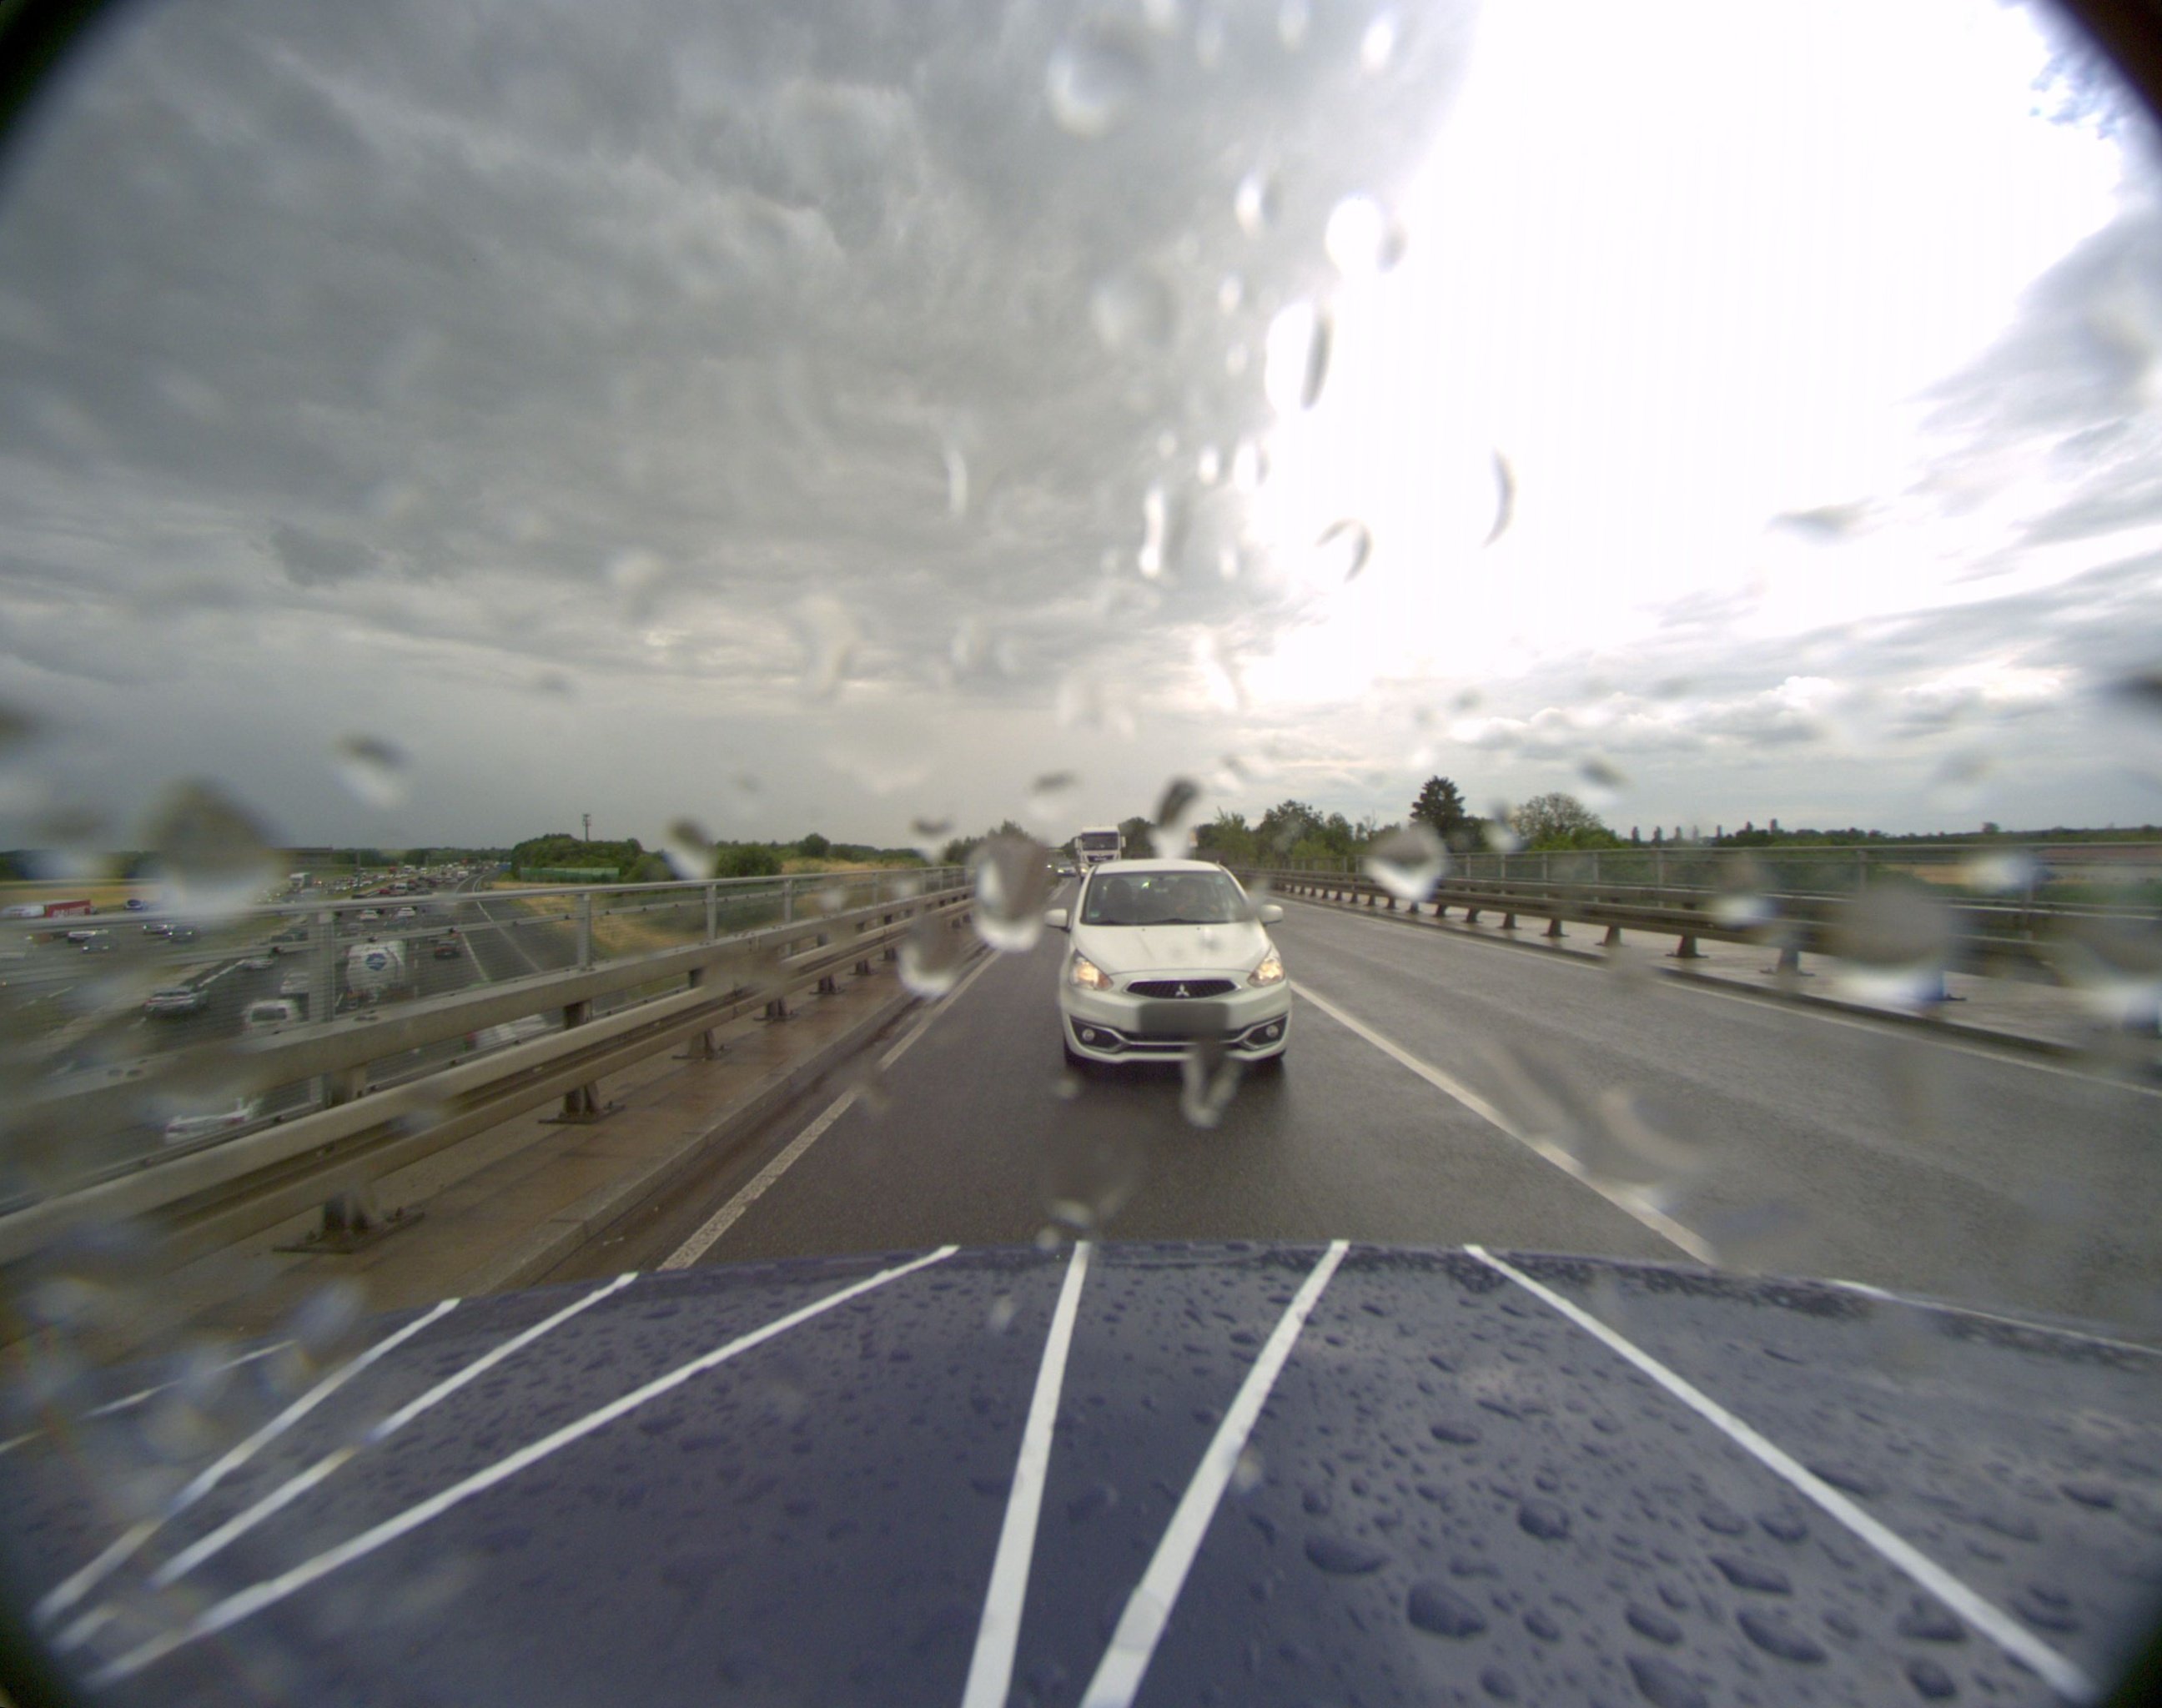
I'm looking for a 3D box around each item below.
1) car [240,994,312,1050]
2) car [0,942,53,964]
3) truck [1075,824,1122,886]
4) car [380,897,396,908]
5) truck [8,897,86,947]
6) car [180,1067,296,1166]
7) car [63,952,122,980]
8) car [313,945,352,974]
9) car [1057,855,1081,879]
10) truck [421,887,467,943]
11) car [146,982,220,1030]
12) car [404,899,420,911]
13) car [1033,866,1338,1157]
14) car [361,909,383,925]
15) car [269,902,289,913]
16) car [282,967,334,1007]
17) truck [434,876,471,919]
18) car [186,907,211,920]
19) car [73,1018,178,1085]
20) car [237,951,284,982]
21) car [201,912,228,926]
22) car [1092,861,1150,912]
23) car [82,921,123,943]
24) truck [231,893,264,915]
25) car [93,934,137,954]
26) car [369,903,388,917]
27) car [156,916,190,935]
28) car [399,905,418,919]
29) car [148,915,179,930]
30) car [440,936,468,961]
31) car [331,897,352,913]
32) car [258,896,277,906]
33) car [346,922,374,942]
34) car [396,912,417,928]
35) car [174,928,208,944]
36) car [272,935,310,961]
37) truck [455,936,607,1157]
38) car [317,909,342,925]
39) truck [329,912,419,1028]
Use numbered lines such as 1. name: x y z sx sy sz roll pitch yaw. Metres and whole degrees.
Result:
1. car: -40.386 8.363 38.241 1.860 1.764 4.711 -3 1 -40
2. car: -97.059 9.044 69.996 1.818 1.428 4.711 -3 1 -41
3. truck: 1.006 -0.112 48.803 2.631 3.537 8.474 -2 3 0
4. car: -125.753 8.835 137.840 1.860 1.764 4.711 -3 1 -40
5. truck: -112.119 7.244 82.586 2.691 4.600 9.727 -3 1 -40
6. car: -27.850 8.576 25.279 1.860 1.659 4.711 -3 1 -40
7. car: -80.612 9.099 62.039 1.818 1.659 4.712 -3 1 -39
8. car: -61.995 8.718 63.018 1.860 1.764 4.711 -3 1 -40
9. car: -1.140 1.251 74.490 1.998 2.002 3.999 -5 2 1
10. truck: -71.765 6.645 85.524 3.499 5.321 15.587 -3 1 -40
11. car: -50.852 8.544 43.113 1.860 1.764 4.711 -3 1 -40
12. car: -113.185 8.662 128.627 1.860 1.764 4.711 -3 1 -40
13. car: 0.619 0.931 6.359 1.675 1.476 4.129 -2 1 1
14. car: -98.547 8.768 105.678 1.860 1.764 4.711 -3 1 -40
15. car: -140.973 9.381 133.560 1.860 1.659 4.711 -3 1 -40
16. car: -50.519 8.648 49.724 1.860 1.764 4.711 -3 1 -40
17. truck: -87.064 5.827 105.122 3.499 5.321 15.587 -3 1 -40
18. car: -138.173 9.298 118.965 1.818 1.659 4.711 -3 1 -40
19. car: -41.217 8.449 32.910 1.860 1.659 4.711 -3 1 -40
20. car: -65.414 8.942 60.640 1.860 1.764 4.711 -3 1 -40
21. car: -127.103 9.461 111.474 1.818 1.659 4.711 -3 1 -40
22. car: 1.214 0.994 24.550 1.675 1.367 4.129 -2 1 1
23. car: -106.449 8.462 82.722 1.818 1.873 4.711 -3 1 -41
24. truck: -143.297 8.536 130.691 2.601 3.161 8.373 -3 1 -40
25. car: -97.974 9.109 77.108 1.818 1.428 4.711 -3 1 -41
26. car: -110.407 8.761 119.405 1.860 1.764 4.711 -3 1 -40
27. car: -110.609 8.697 92.585 1.818 1.836 4.711 -3 1 -41
28. car: -99.799 8.639 112.807 1.860 1.764 4.711 -3 1 -40
29. car: -124.632 9.312 103.211 1.818 1.659 4.711 -3 1 -40
30. car: -57.525 8.615 69.726 1.860 1.764 4.711 -3 1 -40
31. car: -110.248 7.553 113.273 2.003 2.002 3.989 -6 3 -43
32. car: -156.477 9.044 146.206 1.818 1.659 4.711 -3 1 -40
33. car: -78.949 8.492 83.209 1.860 1.764 4.711 -3 1 -40
34. car: -88.639 8.650 99.864 1.860 1.764 4.711 -3 1 -40
35. car: -102.183 9.402 87.285 1.818 1.428 4.711 -3 1 -41
36. car: -73.365 8.700 70.580 1.860 1.764 4.711 -3 1 -40
37. truck: -21.705 6.436 29.332 3.302 5.135 15.587 -3 1 -40
38. car: -100.178 8.332 101.339 1.860 1.764 4.711 -3 1 -40
39. truck: -44.644 6.897 48.455 3.302 5.411 15.587 -3 1 -40
